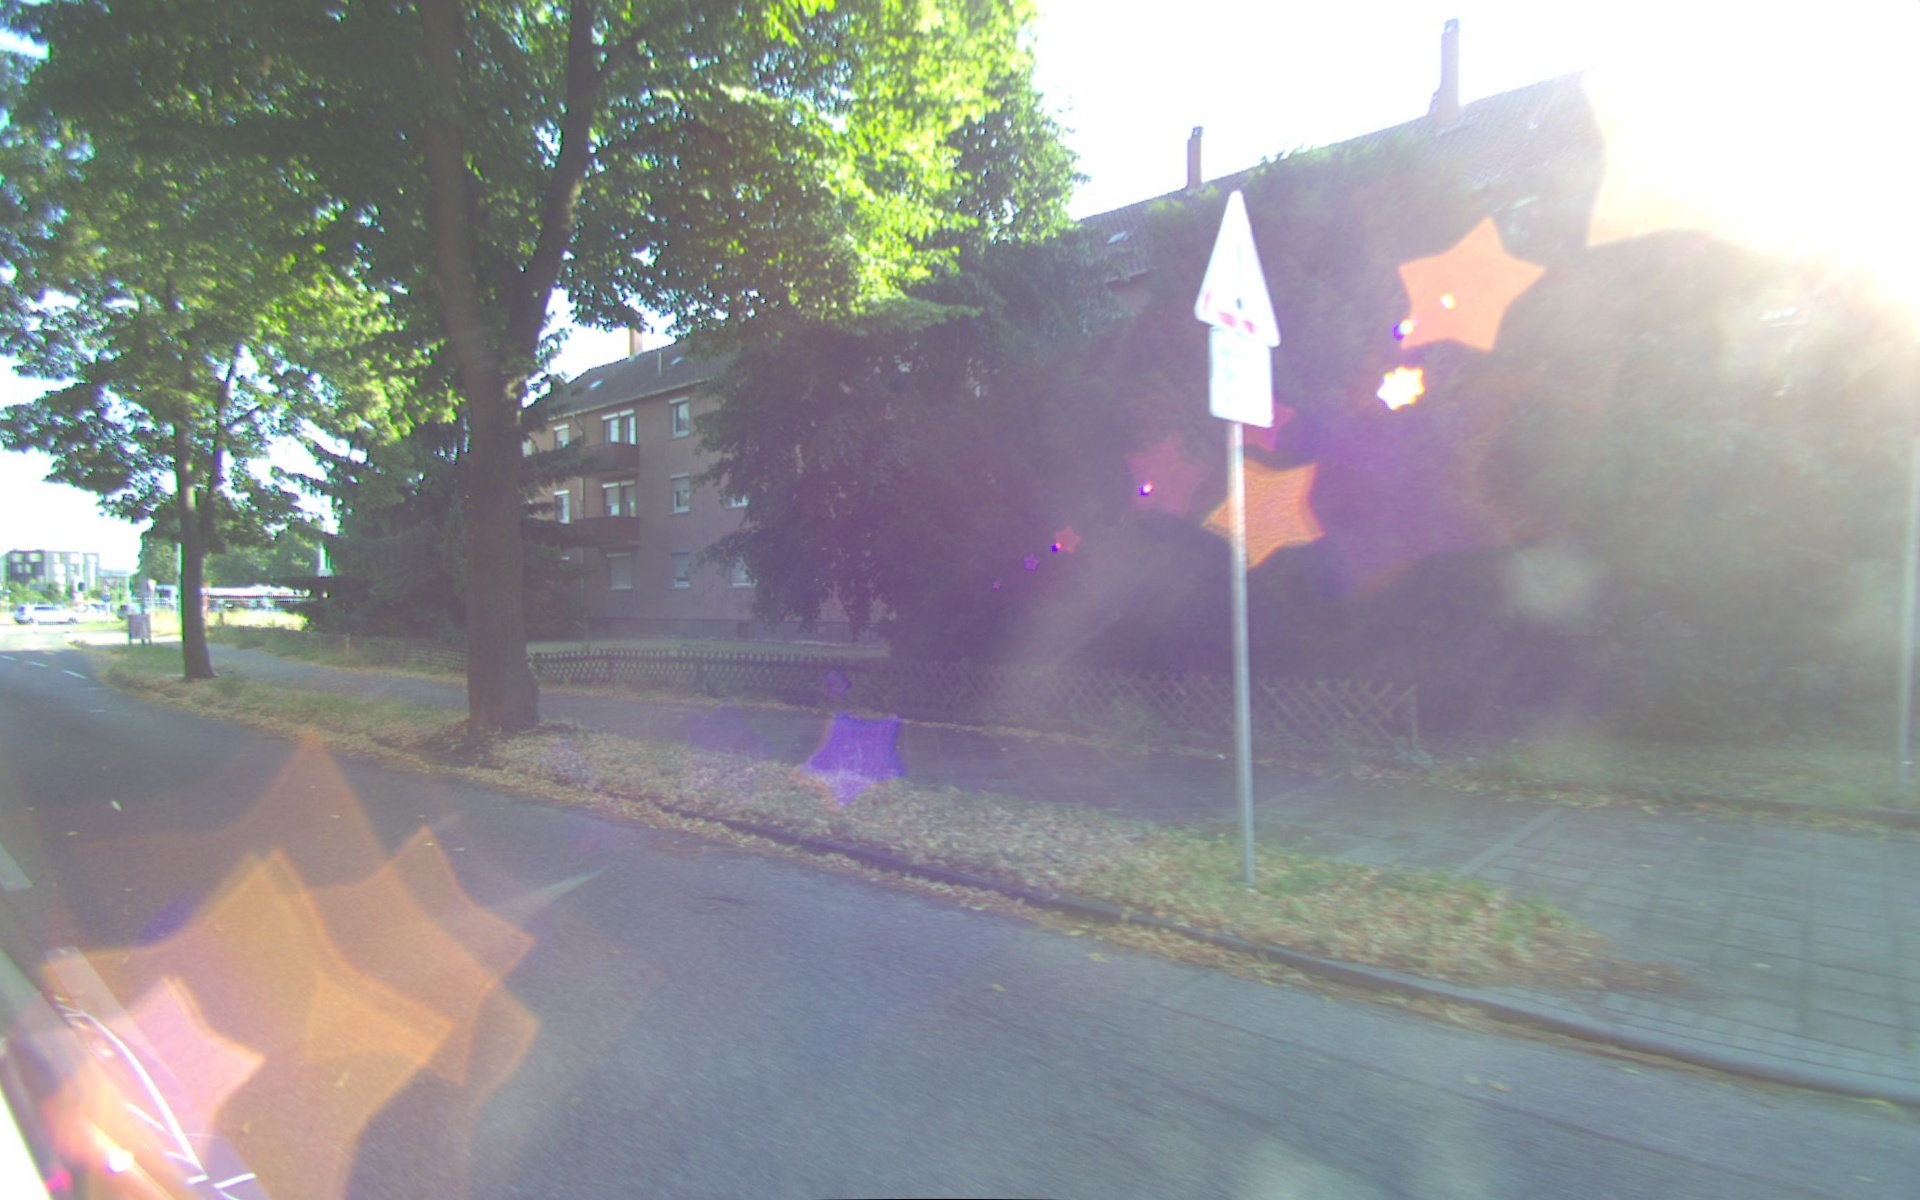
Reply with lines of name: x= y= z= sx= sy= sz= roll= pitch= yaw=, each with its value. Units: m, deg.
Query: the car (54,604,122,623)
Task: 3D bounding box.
car: x=-73.013 y=1.142 z=84.817 sx=1.764 sy=1.541 sz=3.976 roll=0 pitch=0 yaw=18

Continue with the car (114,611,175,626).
car: x=-70.002 y=1.556 z=86.935 sx=1.628 sy=1.187 sz=3.983 roll=-1 pitch=0 yaw=13

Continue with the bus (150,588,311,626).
bus: x=-64.430 y=0.540 z=89.921 sx=2.649 sy=3.085 sz=12.088 roll=0 pitch=1 yaw=22

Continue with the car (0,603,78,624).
car: x=-70.414 y=1.001 z=77.436 sx=1.988 sy=1.541 sz=3.968 roll=0 pitch=0 yaw=24
